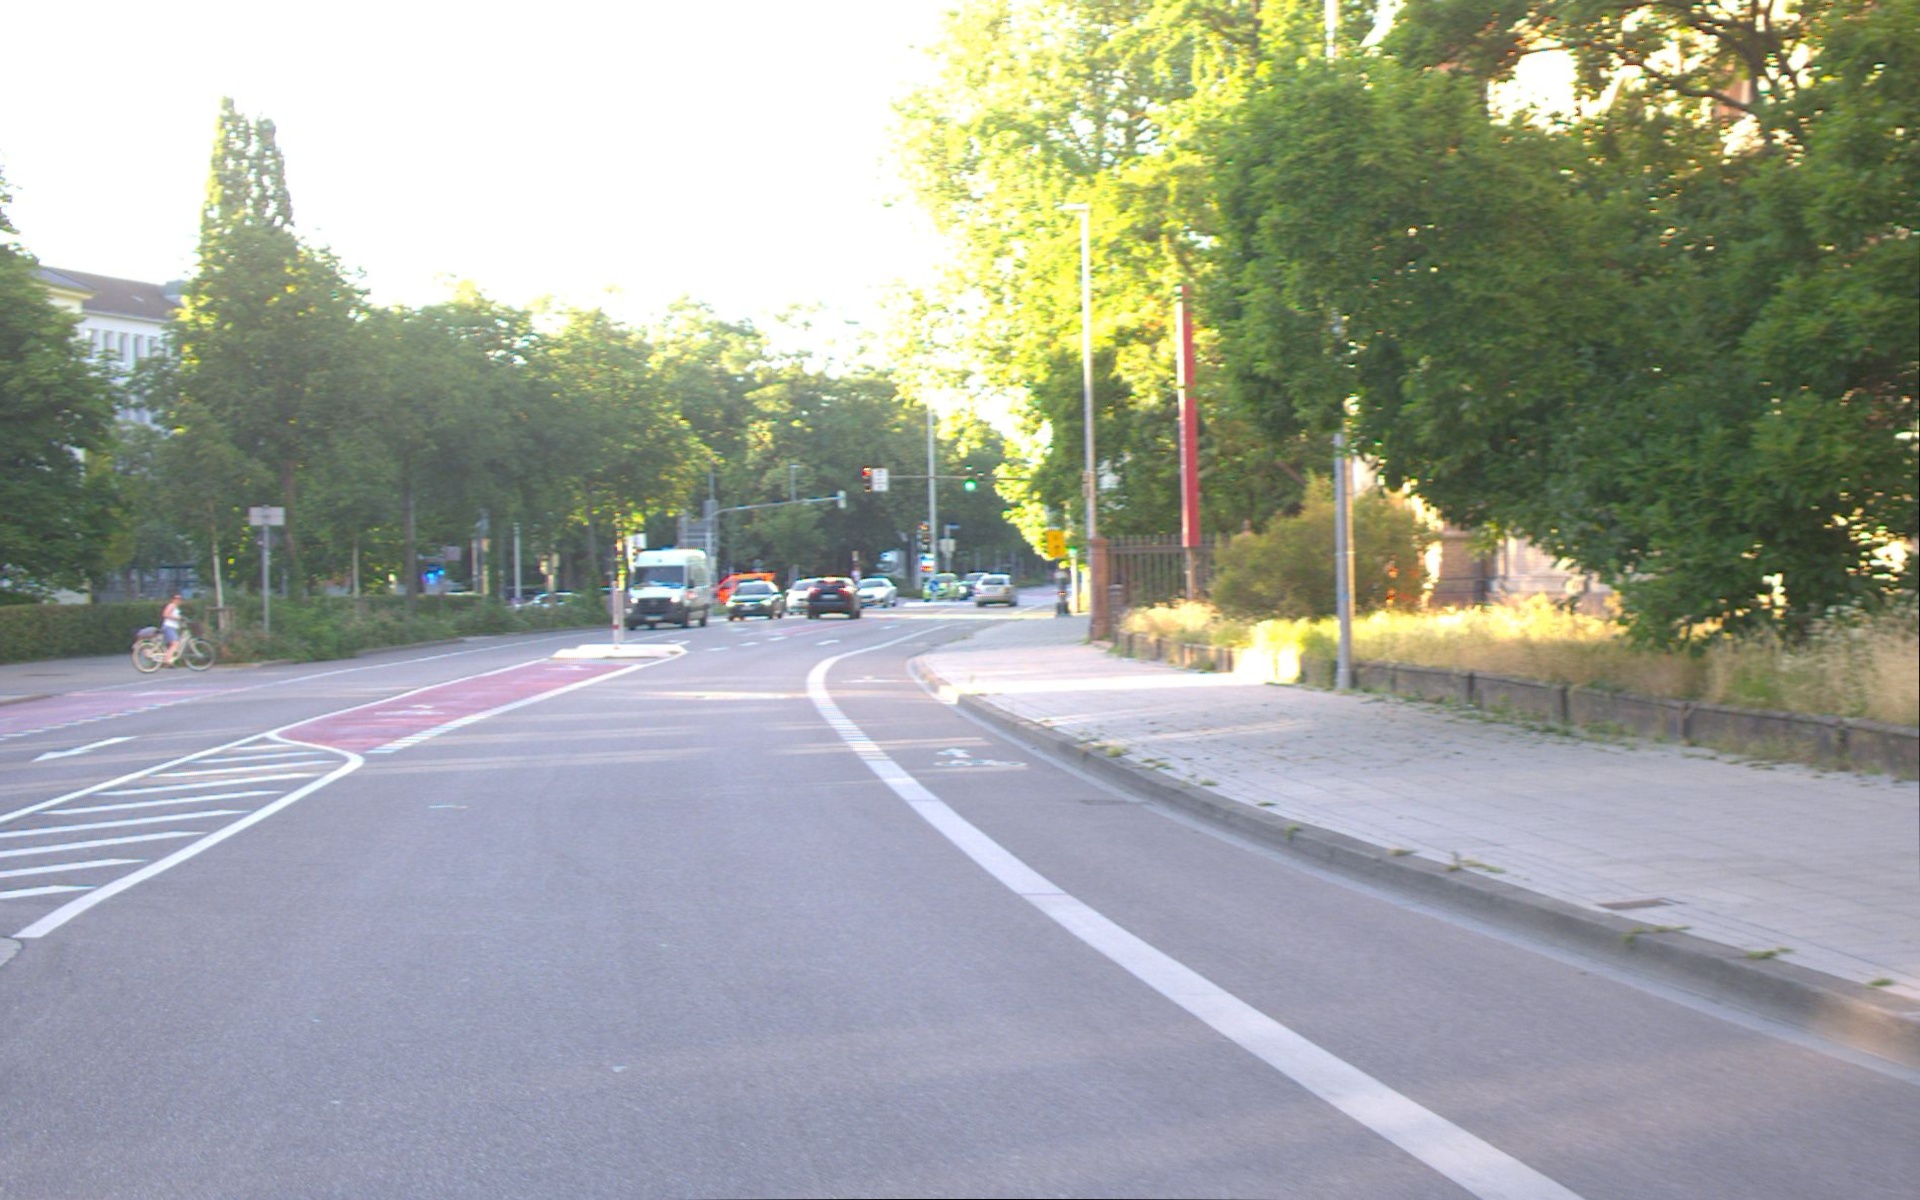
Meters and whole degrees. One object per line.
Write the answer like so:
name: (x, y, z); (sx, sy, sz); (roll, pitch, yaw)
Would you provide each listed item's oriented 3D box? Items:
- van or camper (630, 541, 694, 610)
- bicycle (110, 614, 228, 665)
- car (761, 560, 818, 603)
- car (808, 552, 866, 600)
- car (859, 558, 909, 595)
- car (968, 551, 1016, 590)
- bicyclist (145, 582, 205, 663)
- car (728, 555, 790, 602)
van or camper: (-9.798, -0.823, 113.259); (1.828, 2.187, 4.422); (-2, 1, -2)
bicycle: (-15.992, 0.797, 69.519); (2.188, 0.925, 0.773); (-2, 1, -41)
car: (-7.264, -0.796, 146.975); (1.994, 1.714, 4.000); (-2, 1, 3)
car: (-4.612, -0.908, 129.161); (1.993, 1.714, 4.000); (-2, 1, 0)
car: (-3.660, -1.149, 166.268); (1.994, 1.714, 4.000); (-2, 1, 4)
car: (1.456, -1.358, 156.287); (1.994, 1.714, 4.000); (-2, 1, 3)
bicyclist: (-15.892, 0.454, 69.614); (0.870, 1.591, 0.753); (-2, 1, -41)
car: (-7.810, -0.852, 133.934); (1.993, 1.714, 4.000); (-2, 1, 2)
